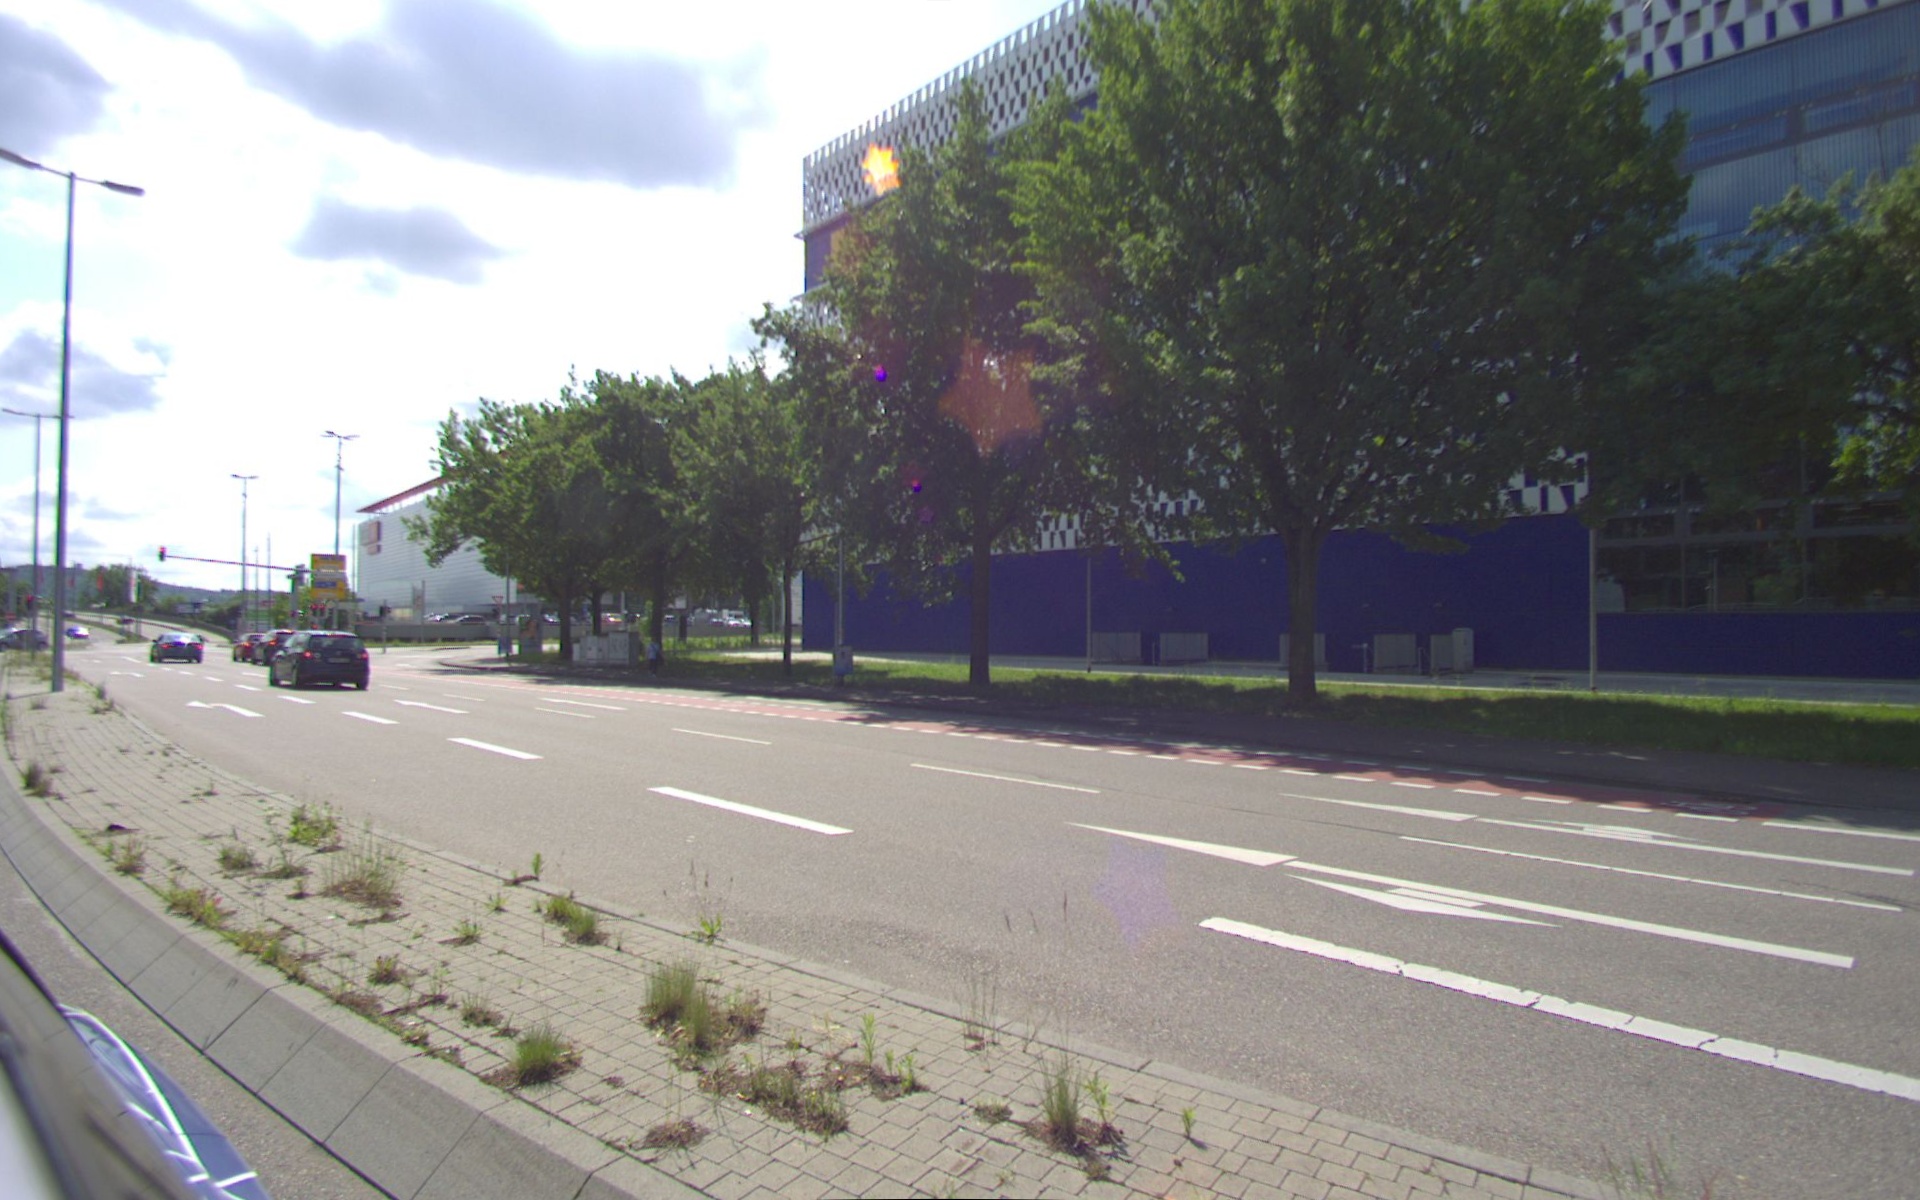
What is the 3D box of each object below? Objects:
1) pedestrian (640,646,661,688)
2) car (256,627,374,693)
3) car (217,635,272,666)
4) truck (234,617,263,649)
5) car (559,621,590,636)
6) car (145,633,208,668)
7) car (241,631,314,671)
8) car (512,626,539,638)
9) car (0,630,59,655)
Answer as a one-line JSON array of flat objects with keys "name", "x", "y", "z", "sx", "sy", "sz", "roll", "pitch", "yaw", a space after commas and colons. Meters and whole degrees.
[{"name": "pedestrian", "x": -11.840, "y": 2.560, "z": 38.696, "sx": 0.496, "sy": 1.567, "sz": 0.761, "roll": 2, "pitch": -3, "yaw": -43}, {"name": "car", "x": -17.816, "y": 1.640, "z": 27.874, "sx": 4.242, "sy": 1.622, "sz": 1.718, "roll": -2, "pitch": -6, "yaw": 44}, {"name": "car", "x": -36.872, "y": 2.574, "z": 52.088, "sx": 1.666, "sy": 1.494, "sz": 4.129, "roll": 5, "pitch": -5, "yaw": -43}, {"name": "truck", "x": -98.233, "y": 4.623, "z": 139.814, "sx": 3.169, "sy": 4.058, "sz": 9.093, "roll": 0, "pitch": -3, "yaw": -34}, {"name": "car", "x": -50.361, "y": 3.721, "z": 132.124, "sx": 4.181, "sy": 1.763, "sz": 1.893, "roll": -4, "pitch": -3, "yaw": 37}, {"name": "car", "x": -37.673, "y": 2.406, "z": 48.623, "sx": 1.752, "sy": 1.560, "sz": 4.824, "roll": 5, "pitch": -5, "yaw": -44}, {"name": "car", "x": -32.104, "y": 2.375, "z": 47.555, "sx": 1.905, "sy": 1.769, "sz": 4.824, "roll": 5, "pitch": -5, "yaw": -44}, {"name": "car", "x": -57.628, "y": 4.266, "z": 134.257, "sx": 1.925, "sy": 1.482, "sz": 4.428, "roll": 1, "pitch": -3, "yaw": -43}, {"name": "car", "x": -59.784, "y": 2.700, "z": 63.849, "sx": 1.591, "sy": 1.542, "sz": 4.253, "roll": -1, "pitch": -3, "yaw": 11}]
